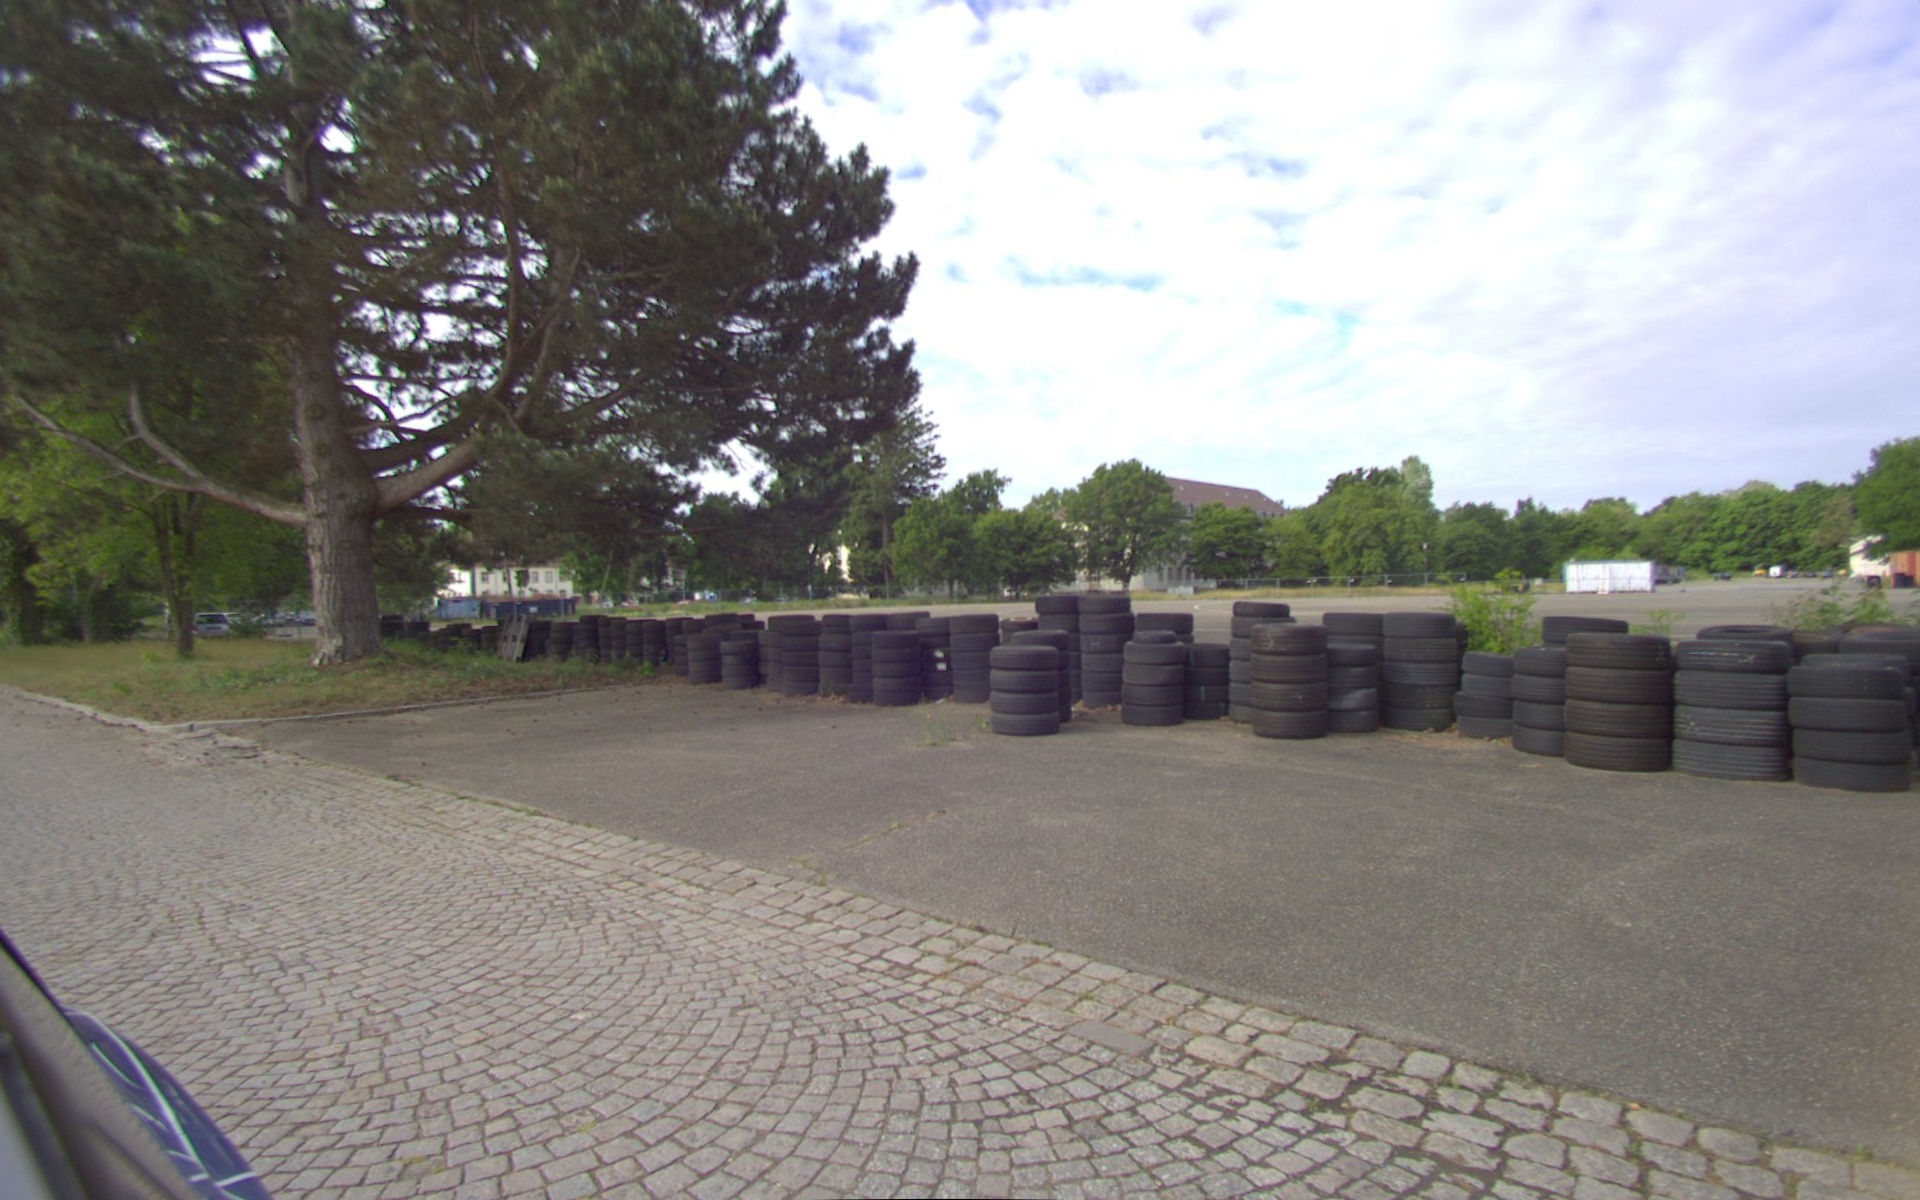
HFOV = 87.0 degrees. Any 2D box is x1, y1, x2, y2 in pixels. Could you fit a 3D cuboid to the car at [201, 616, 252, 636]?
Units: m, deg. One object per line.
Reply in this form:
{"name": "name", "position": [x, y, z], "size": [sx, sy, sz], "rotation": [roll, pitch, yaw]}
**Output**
{"name": "car", "position": [-56.805, 2.033, 78.334], "size": [4.446, 1.460, 1.975], "rotation": [-2, 0, 37]}

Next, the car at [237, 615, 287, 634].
{"name": "car", "position": [-55.573, 1.962, 80.540], "size": [4.446, 1.460, 1.975], "rotation": [-2, 0, 37]}

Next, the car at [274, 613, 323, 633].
{"name": "car", "position": [-54.006, 1.886, 82.555], "size": [4.446, 1.460, 1.975], "rotation": [-2, 0, 37]}

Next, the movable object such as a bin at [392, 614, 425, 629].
{"name": "movable object such as a bin", "position": [-42.244, 1.634, 77.474], "size": [2.712, 1.079, 1.046], "rotation": [-2, 0, 32]}

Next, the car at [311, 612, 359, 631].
{"name": "car", "position": [-52.573, 1.805, 85.076], "size": [4.446, 1.460, 1.975], "rotation": [-2, 0, 37]}

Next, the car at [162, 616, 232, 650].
{"name": "car", "position": [-34.832, 1.504, 46.160], "size": [3.719, 1.421, 1.649], "rotation": [-2, 0, 38]}

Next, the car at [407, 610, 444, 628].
{"name": "car", "position": [-53.112, 1.935, 100.619], "size": [3.797, 1.696, 1.728], "rotation": [-2, 0, 36]}
